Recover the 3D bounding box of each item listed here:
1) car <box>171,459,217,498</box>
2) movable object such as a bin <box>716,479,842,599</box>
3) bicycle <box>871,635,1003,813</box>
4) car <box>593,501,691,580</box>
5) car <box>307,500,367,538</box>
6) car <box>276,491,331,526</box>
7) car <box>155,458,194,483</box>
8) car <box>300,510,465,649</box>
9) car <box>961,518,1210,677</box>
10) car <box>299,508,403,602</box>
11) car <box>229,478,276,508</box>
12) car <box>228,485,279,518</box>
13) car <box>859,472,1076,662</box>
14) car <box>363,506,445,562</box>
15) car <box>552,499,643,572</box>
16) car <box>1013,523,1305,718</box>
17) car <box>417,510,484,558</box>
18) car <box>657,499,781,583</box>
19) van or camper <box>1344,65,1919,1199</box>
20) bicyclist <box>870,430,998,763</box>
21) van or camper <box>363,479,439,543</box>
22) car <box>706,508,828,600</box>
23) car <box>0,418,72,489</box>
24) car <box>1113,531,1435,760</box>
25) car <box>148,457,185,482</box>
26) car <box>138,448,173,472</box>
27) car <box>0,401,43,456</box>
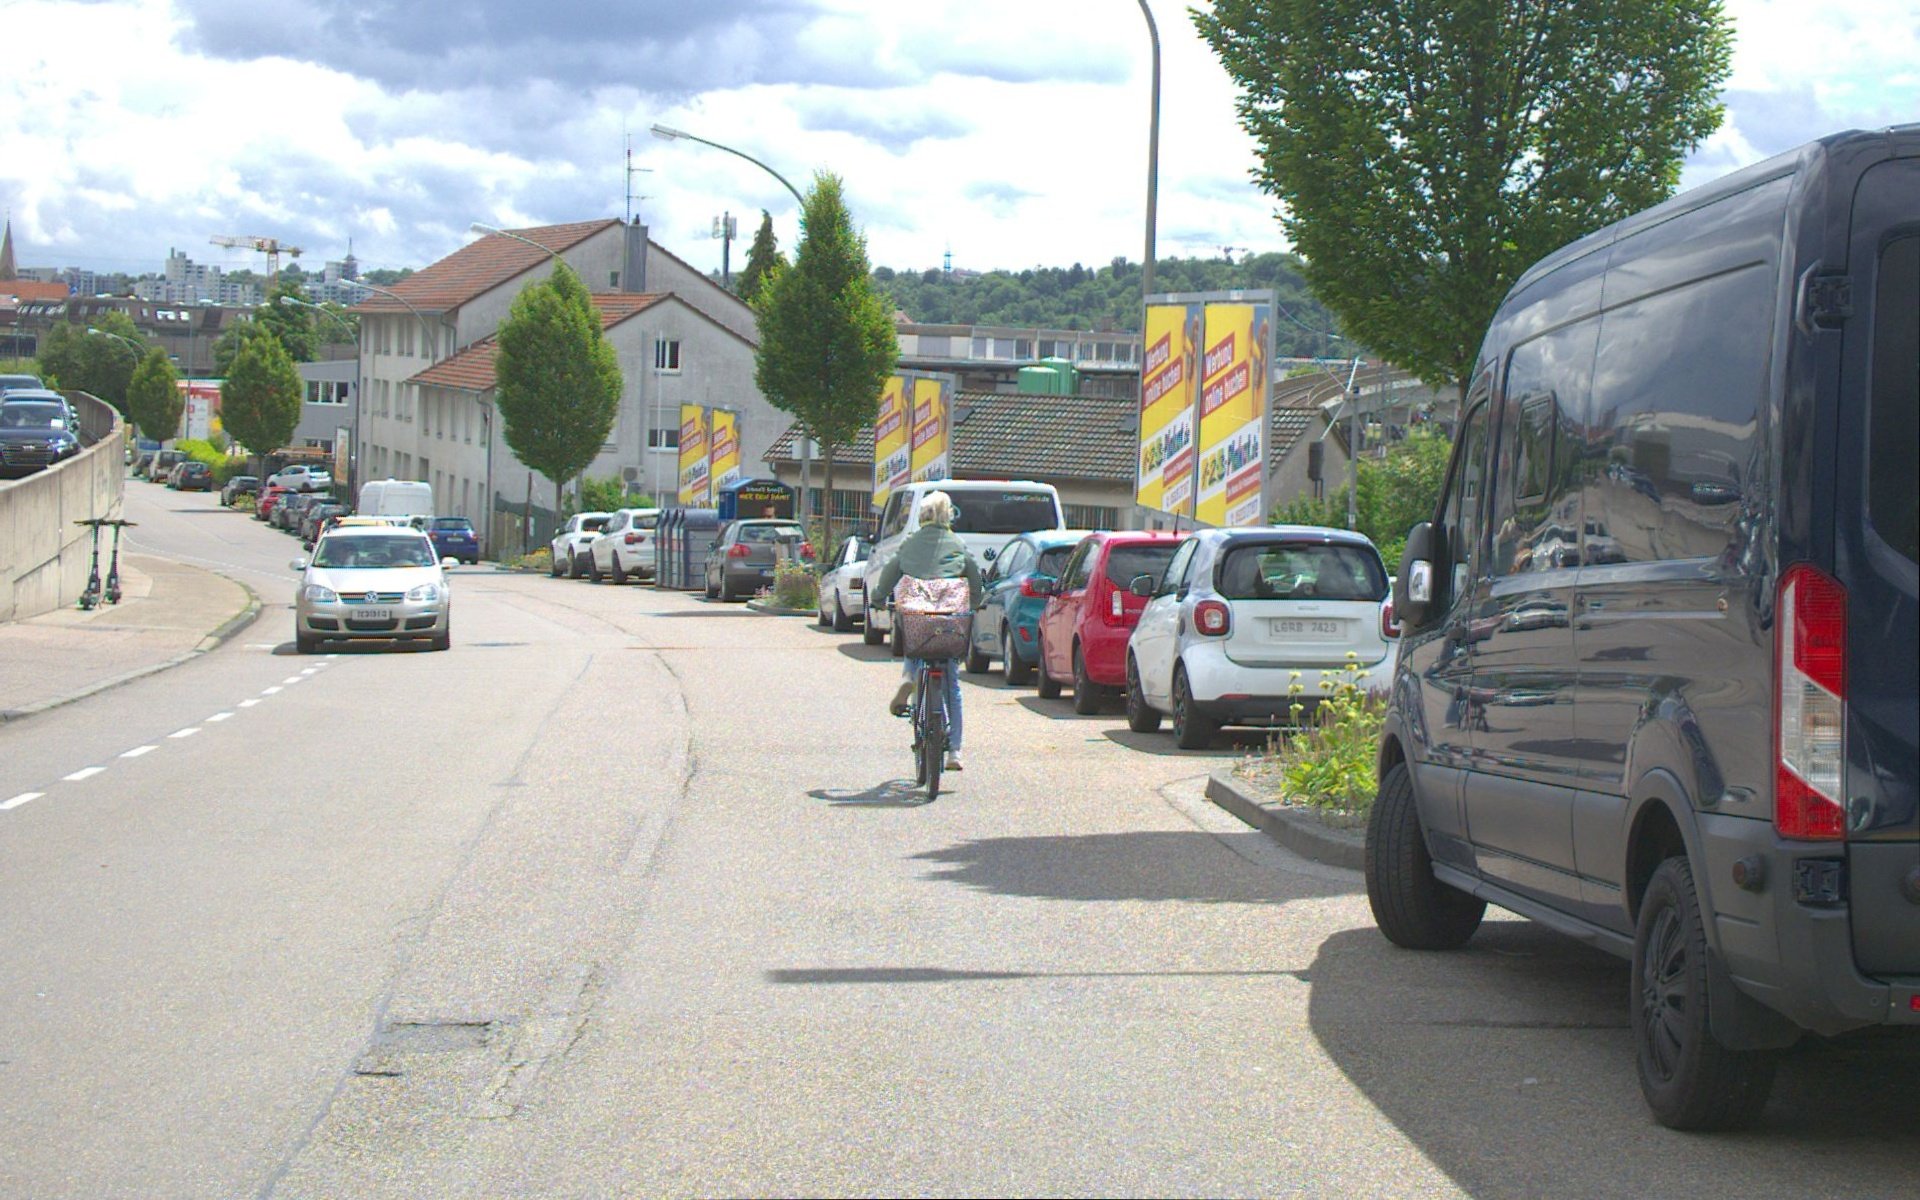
[{"bbox_3d":[-42.791,-6.810,191.997,1.993,2.007,4.002,3,1,-19],"label":"car"},{"bbox_3d":[-3.559,-1.199,67.136,2.134,2.295,2.559,0,1,-10],"label":"movable object such as a bin"},{"bbox_3d":[-0.152,0.673,19.400,0.687,0.875,2.102,0,1,-2],"label":"bicycle"},{"bbox_3d":[-7.112,-1.337,76.577,1.813,1.700,4.001,0,1,-10],"label":"car"},{"bbox_3d":[-24.157,-3.142,133.153,1.993,1.459,4.001,0,1,-14],"label":"car"},{"bbox_3d":[-27.580,-3.853,144.367,1.993,1.459,4.001,0,1,-14],"label":"car"},{"bbox_3d":[-44.793,-7.370,195.939,1.993,1.415,4.001,-1,1,-15],"label":"car"},{"bbox_3d":[-6.825,-0.285,40.972,1.702,1.556,4.329,0,1,-6],"label":"car"},{"bbox_3d":[1.157,-0.065,33.236,1.902,1.437,3.545,0,1,-6],"label":"car"},{"bbox_3d":[-10.544,-0.804,59.681,1.708,1.568,4.001,0,1,-9],"label":"car"},{"bbox_3d":[-34.258,-5.172,166.467,1.993,1.415,4.001,-1,1,-15],"label":"car"},{"bbox_3d":[-30.939,-4.308,150.471,1.993,1.459,4.001,0,1,-14],"label":"car"},{"bbox_3d":[0.012,-0.418,39.994,1.993,2.007,4.919,2,1,-5],"label":"car"},{"bbox_3d":[-16.166,-1.929,99.777,1.993,1.612,4.001,0,1,-14],"label":"car"},{"bbox_3d":[-8.698,-1.548,82.237,1.842,1.700,4.001,0,1,-10],"label":"car"},{"bbox_3d":[1.592,0.115,28.863,1.875,1.503,4.001,0,1,-5],"label":"car"},{"bbox_3d":[-16.028,-2.094,108.039,1.993,1.459,4.001,0,1,-10],"label":"car"},{"bbox_3d":[-5.031,-1.243,71.297,2.134,1.700,4.001,0,1,-10],"label":"car"},{"bbox_3d":[2.721,0.064,10.555,2.124,2.576,5.918,1,1,-2],"label":"van or camper"},{"bbox_3d":[-0.156,-0.033,19.349,0.684,1.819,1.081,0,1,-2],"label":"bicyclist"},{"bbox_3d":[-19.067,-3.056,117.122,1.993,2.007,4.002,3,1,-16],"label":"van or camper"},{"bbox_3d":[-3.542,-0.862,62.468,1.993,1.612,4.001,0,1,-6],"label":"car"},{"bbox_3d":[-18.165,-2.874,66.860,1.669,1.319,3.720,1,3,-14],"label":"car"},{"bbox_3d":[2.165,0.273,24.408,1.793,1.501,2.907,0,1,-5],"label":"car"},{"bbox_3d":[-47.445,-7.790,205.444,1.993,1.415,4.001,-1,1,-15],"label":"car"},{"bbox_3d":[-50.971,-8.856,217.845,1.993,1.415,4.001,-1,1,-15],"label":"car"},{"bbox_3d":[-23.381,-4.215,84.282,1.669,1.319,3.720,-1,3,-16],"label":"car"}]
